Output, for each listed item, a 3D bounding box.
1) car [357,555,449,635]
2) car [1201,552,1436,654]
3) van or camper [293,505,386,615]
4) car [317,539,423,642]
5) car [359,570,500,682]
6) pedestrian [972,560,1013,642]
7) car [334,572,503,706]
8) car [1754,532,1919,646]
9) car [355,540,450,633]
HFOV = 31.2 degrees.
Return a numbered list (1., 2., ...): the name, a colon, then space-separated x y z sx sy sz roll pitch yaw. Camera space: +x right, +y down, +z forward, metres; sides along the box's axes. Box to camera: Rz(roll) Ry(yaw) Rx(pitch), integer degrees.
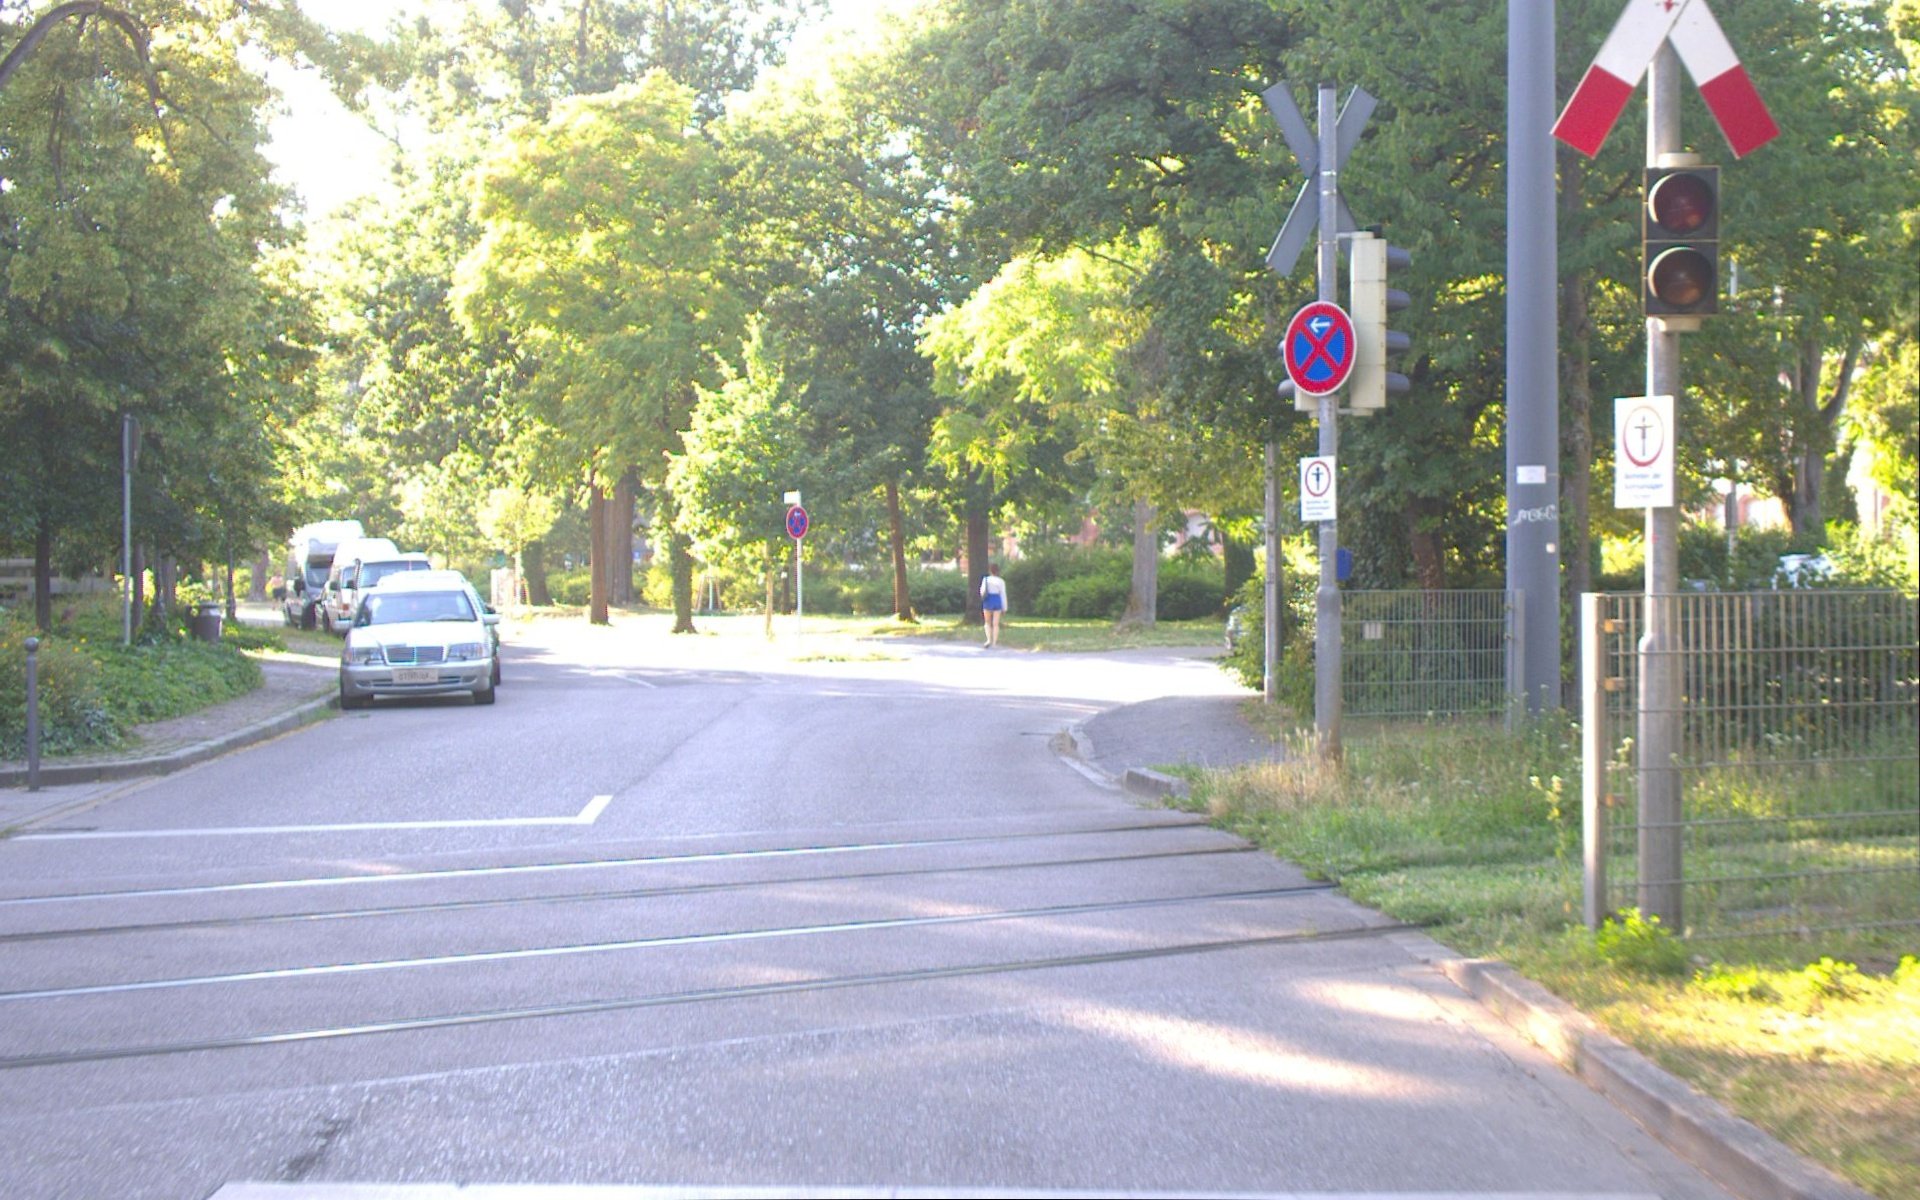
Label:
1. car: -10.821 -0.117 66.655 1.615 1.496 3.698 0 1 -11
2. car: 6.370 0.030 60.777 1.806 1.670 4.309 3 3 44
3. van or camper: -16.991 -1.093 93.912 2.089 2.898 6.334 0 1 -14
4. car: -14.011 -0.252 81.394 1.850 2.348 5.188 0 1 -17
5. car: -7.481 0.326 48.201 1.824 1.411 4.496 -2 1 -10
6. pedestrian: 0.623 0.016 66.731 0.773 1.569 0.768 0 1 -1
7. car: -6.381 0.420 40.886 1.779 1.411 4.499 -2 1 -7
8. car: 16.753 -0.212 63.152 1.957 2.007 5.140 1 1 42
9. car: -12.090 -0.316 74.328 1.850 1.939 4.842 0 1 -11
